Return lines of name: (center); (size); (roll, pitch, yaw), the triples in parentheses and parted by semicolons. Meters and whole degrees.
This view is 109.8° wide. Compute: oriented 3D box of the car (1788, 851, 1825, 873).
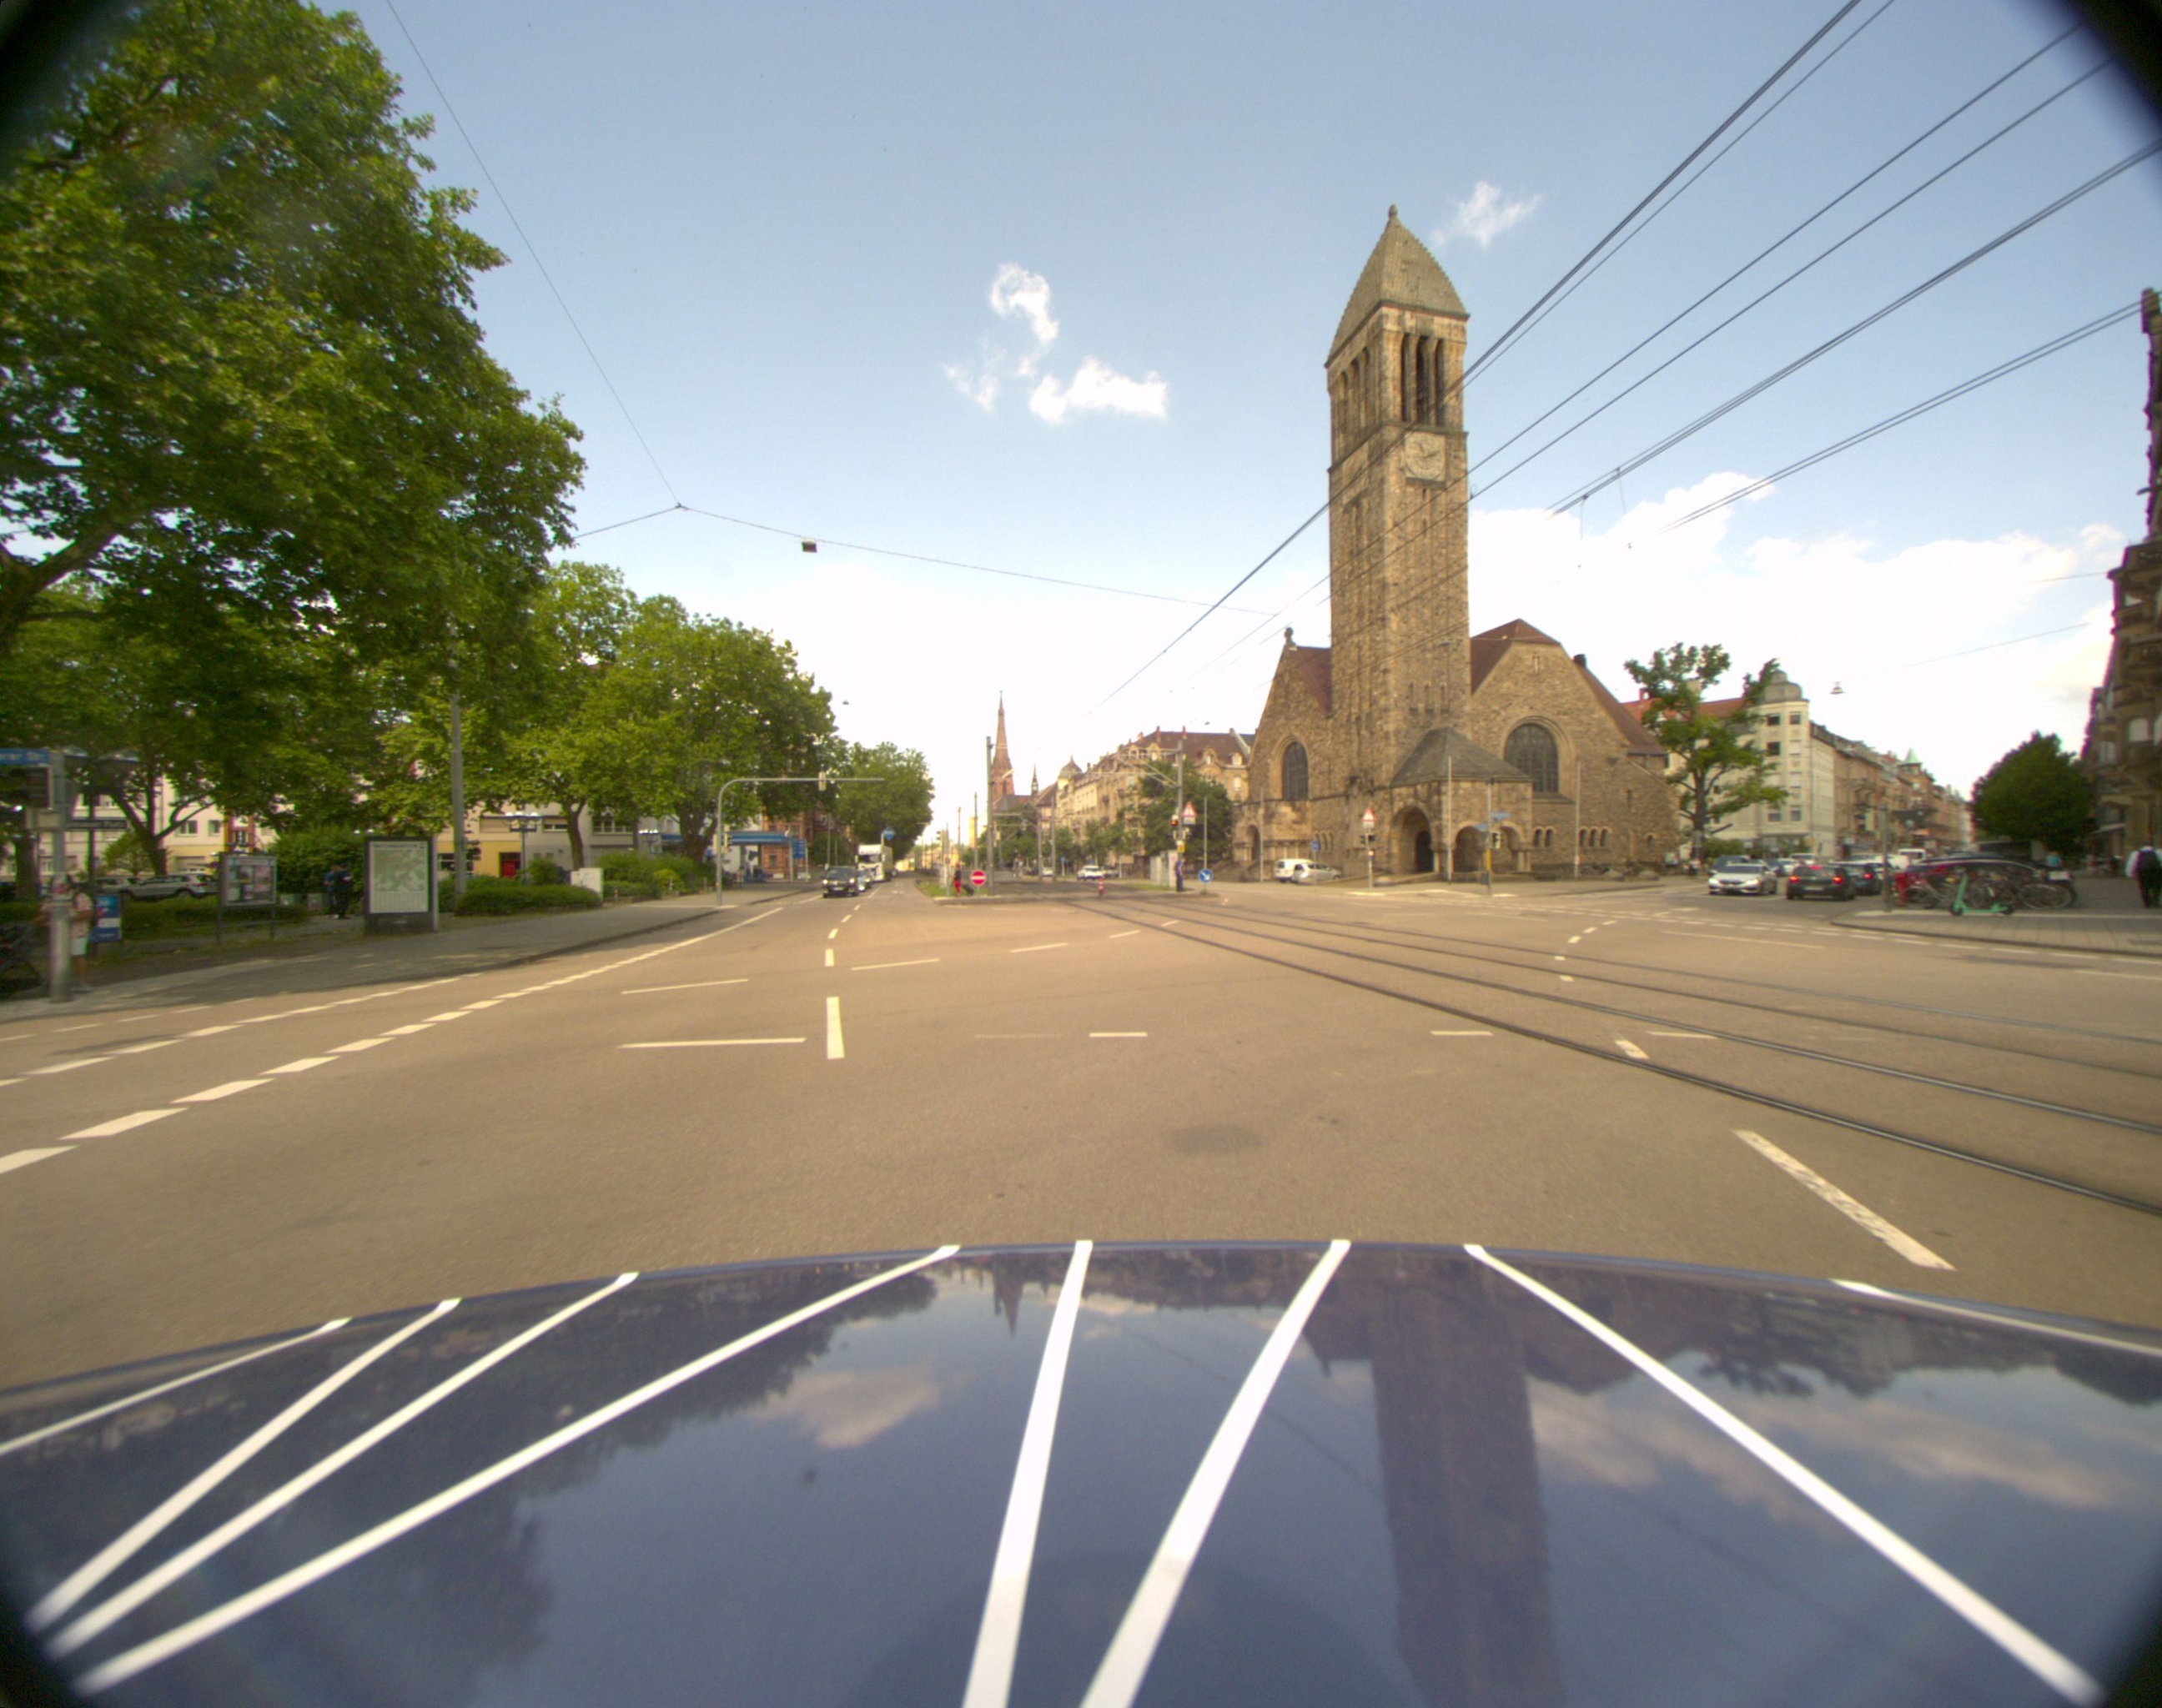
car: (67.552, 0.719, 70.717); (4.194, 1.927, 1.841); (0, 0, -37)

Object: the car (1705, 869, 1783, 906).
car: (30.561, 1.495, 34.983); (4.394, 1.440, 1.822); (0, 1, -37)

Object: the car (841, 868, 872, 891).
car: (-15.305, 1.709, 52.050); (1.735, 1.457, 4.322); (0, 0, -13)

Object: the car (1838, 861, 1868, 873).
car: (86.465, 1.449, 85.087); (4.194, 1.360, 1.806); (0, 0, -37)

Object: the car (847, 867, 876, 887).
car: (-16.916, 1.748, 58.808); (1.855, 1.438, 3.969); (0, 0, -12)

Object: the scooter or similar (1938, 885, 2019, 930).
scooter or similar: (23.690, 1.403, 20.083); (0.481, 1.139, 1.251); (-2, -2, -20)

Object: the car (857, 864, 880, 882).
car: (-20.902, 1.831, 74.783); (1.855, 1.695, 4.130); (-1, 0, -12)

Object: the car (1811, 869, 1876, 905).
car: (35.798, 1.513, 35.649); (3.940, 1.531, 1.748); (0, 0, -39)

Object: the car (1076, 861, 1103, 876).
car: (0.821, 1.468, 77.730); (1.821, 1.497, 4.126); (-1, -1, -14)

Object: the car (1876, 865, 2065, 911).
car: (31.429, 1.226, 26.998); (3.993, 1.448, 1.815); (-3, -2, 15)

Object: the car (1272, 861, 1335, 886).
car: (17.267, 1.526, 59.119); (4.307, 1.842, 1.998); (1, -2, -14)

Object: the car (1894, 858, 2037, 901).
car: (41.076, 1.188, 35.389); (3.946, 1.856, 1.734); (-3, -2, 19)

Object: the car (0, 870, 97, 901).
car: (-60.932, 1.828, 44.335); (4.001, 1.670, 1.853); (-1, 0, -11)

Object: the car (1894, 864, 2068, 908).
car: (33.952, 1.228, 28.773); (3.948, 1.447, 1.734); (-3, -3, 11)

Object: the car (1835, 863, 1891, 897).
car: (42.517, 1.357, 41.288); (4.028, 1.574, 1.771); (-2, 3, -40)

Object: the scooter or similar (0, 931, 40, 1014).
scooter or similar: (-14.271, 1.558, 9.874); (0.490, 1.050, 0.709); (-1, 0, 3)

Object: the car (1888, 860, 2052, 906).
car: (36.073, 1.210, 30.961); (3.948, 1.679, 1.805); (-3, -3, 13)

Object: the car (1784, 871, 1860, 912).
car: (30.187, 1.480, 30.918); (3.825, 1.425, 1.714); (-1, 1, -38)

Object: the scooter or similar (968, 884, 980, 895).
scooter or similar: (-5.093, 1.702, 36.209); (0.522, 0.532, 0.310); (1, -1, -25)

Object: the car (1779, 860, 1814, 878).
car: (64.075, 1.313, 68.025); (3.898, 1.487, 1.680); (0, 0, -37)

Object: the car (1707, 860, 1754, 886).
car: (46.952, 1.352, 54.904); (4.153, 1.780, 1.680); (0, 0, -37)

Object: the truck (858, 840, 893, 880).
truck: (-22.189, 0.641, 82.183); (2.918, 4.125, 6.585); (-1, 0, -9)

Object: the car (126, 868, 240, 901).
car: (-52.837, 1.746, 44.776); (4.001, 1.789, 1.867); (-1, 0, -11)

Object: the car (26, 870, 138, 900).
car: (-61.578, 1.901, 46.906); (4.001, 1.652, 1.752); (-1, 0, -11)

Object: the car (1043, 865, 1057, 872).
car: (-5.080, 2.351, 123.638); (1.656, 1.226, 3.060); (-1, -1, -13)

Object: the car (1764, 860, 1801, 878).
car: (59.876, 1.288, 64.845); (3.805, 1.438, 1.680); (0, 0, -37)

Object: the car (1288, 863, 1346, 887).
car: (17.314, 1.537, 55.721); (3.640, 1.668, 1.817); (1, -2, -16)

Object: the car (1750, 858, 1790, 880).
car: (56.168, 1.209, 61.923); (4.008, 1.780, 1.680); (0, 0, -37)

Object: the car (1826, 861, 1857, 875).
car: (82.086, 1.496, 81.970); (4.194, 1.360, 1.806); (0, 0, -37)

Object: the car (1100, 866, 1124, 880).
car: (3.585, 2.169, 88.132); (1.790, 1.486, 3.834); (-1, -1, -13)

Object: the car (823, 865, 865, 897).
car: (-13.597, 1.492, 43.802); (1.855, 1.716, 4.414); (-1, 0, -12)

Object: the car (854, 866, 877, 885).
car: (-18.318, 1.778, 64.679); (1.687, 1.554, 3.749); (0, 0, -13)
